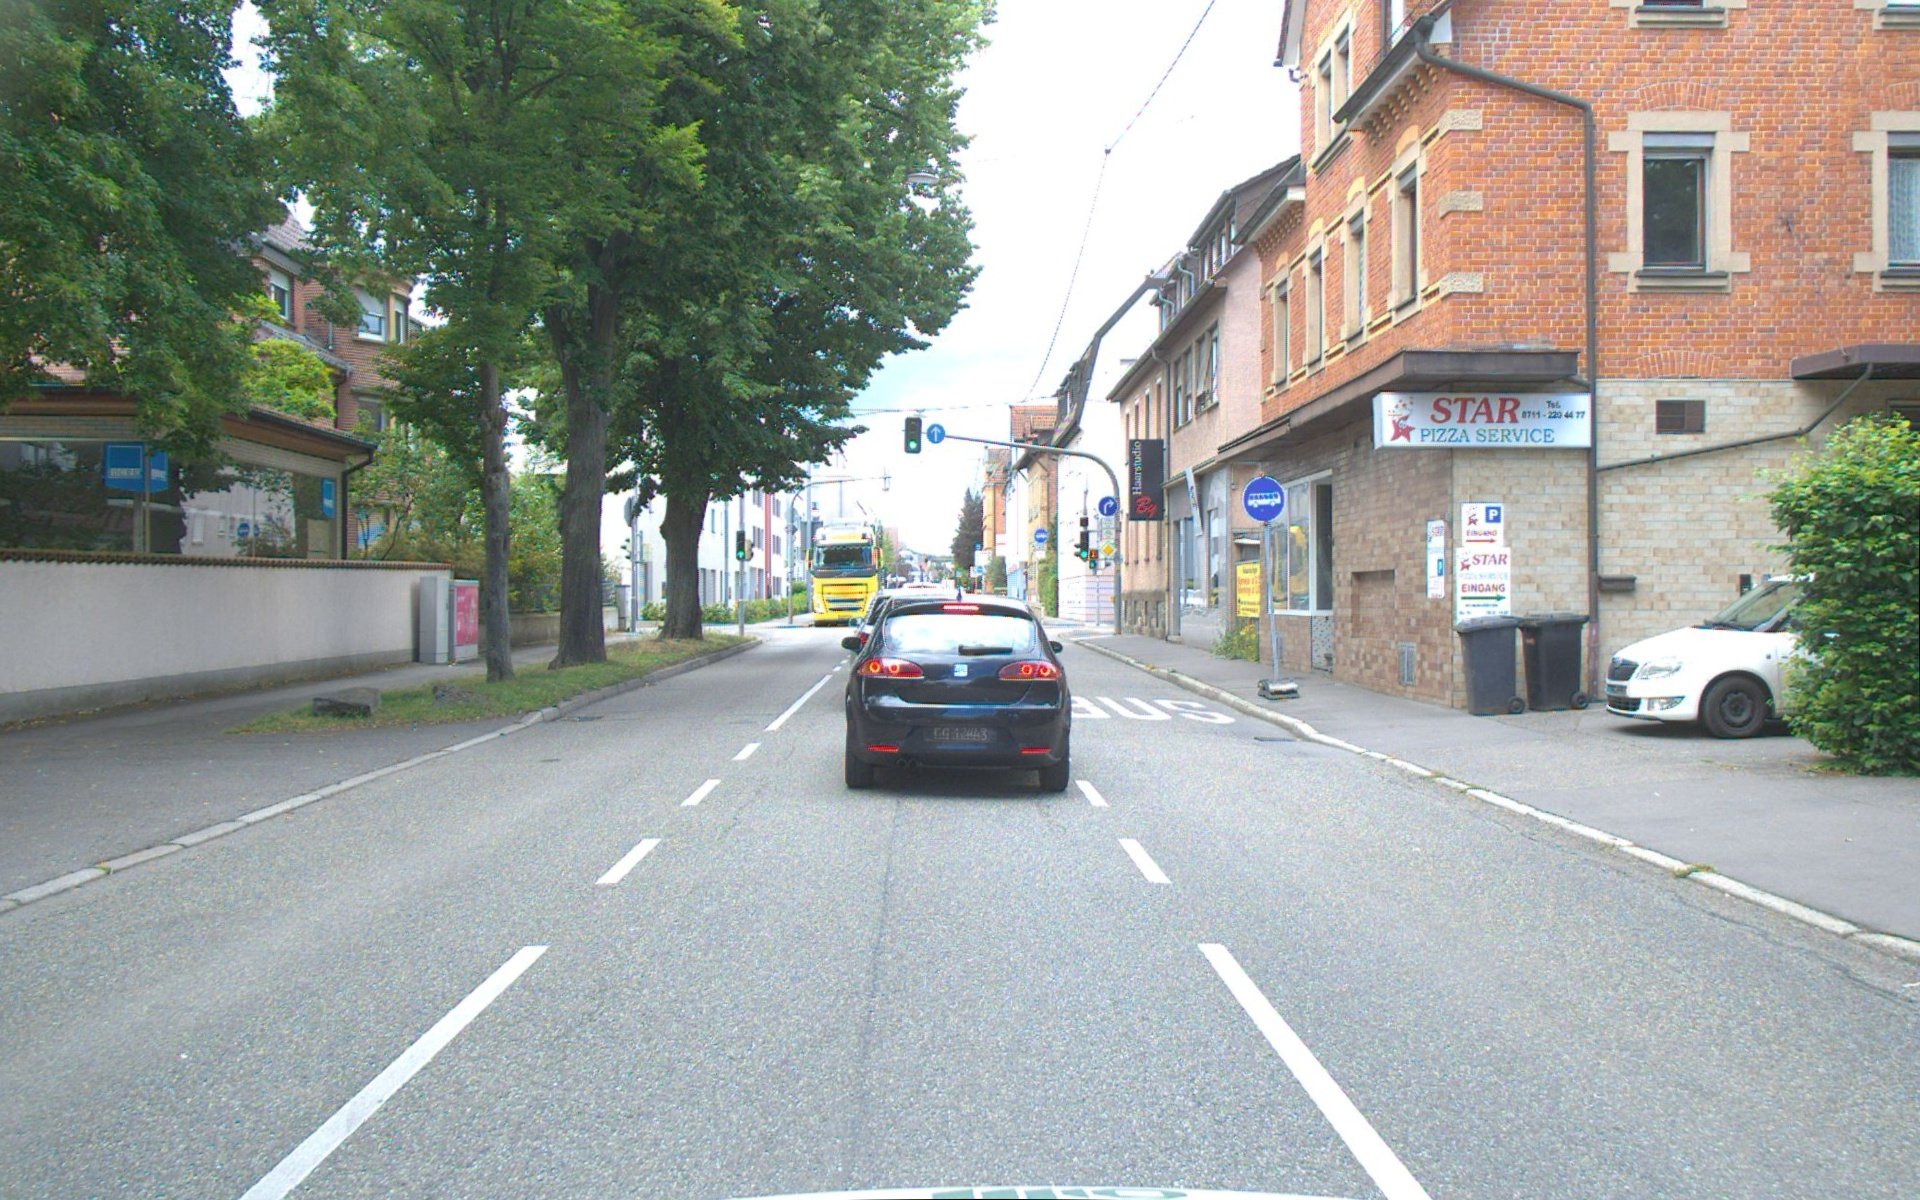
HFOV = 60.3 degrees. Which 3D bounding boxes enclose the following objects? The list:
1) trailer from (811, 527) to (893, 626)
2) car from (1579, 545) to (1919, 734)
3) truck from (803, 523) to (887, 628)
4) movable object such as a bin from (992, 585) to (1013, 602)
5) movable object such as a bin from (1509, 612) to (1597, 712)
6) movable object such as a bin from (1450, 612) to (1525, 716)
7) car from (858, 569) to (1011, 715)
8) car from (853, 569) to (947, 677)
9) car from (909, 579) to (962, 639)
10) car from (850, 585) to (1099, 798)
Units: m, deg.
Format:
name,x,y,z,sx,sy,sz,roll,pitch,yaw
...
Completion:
name,x,y,z,sx,sy,sz,roll,pitch,yaw
trailer,-4.542,-0.920,72.219,2.800,3.874,14.388,1,0,-1
car,8.209,0.310,15.754,3.949,1.495,1.600,-4,0,-3
truck,-4.424,-0.897,64.831,2.786,3.848,7.668,1,0,-1
movable object such as a bin,3.767,-0.574,147.149,1.781,1.462,1.992,1,0,0
movable object such as a bin,6.658,0.688,18.602,0.684,1.077,0.723,-2,0,-1
movable object such as a bin,5.920,0.711,18.581,0.594,1.120,0.622,-2,0,-1
car,-0.355,0.506,21.783,1.805,1.723,3.999,1,0,-2
car,-1.018,0.376,28.584,1.500,1.723,3.692,1,0,-2
car,-0.764,0.251,50.019,1.500,1.723,3.692,1,0,-2
car,0.063,0.644,13.601,1.723,1.467,3.999,1,0,-1
